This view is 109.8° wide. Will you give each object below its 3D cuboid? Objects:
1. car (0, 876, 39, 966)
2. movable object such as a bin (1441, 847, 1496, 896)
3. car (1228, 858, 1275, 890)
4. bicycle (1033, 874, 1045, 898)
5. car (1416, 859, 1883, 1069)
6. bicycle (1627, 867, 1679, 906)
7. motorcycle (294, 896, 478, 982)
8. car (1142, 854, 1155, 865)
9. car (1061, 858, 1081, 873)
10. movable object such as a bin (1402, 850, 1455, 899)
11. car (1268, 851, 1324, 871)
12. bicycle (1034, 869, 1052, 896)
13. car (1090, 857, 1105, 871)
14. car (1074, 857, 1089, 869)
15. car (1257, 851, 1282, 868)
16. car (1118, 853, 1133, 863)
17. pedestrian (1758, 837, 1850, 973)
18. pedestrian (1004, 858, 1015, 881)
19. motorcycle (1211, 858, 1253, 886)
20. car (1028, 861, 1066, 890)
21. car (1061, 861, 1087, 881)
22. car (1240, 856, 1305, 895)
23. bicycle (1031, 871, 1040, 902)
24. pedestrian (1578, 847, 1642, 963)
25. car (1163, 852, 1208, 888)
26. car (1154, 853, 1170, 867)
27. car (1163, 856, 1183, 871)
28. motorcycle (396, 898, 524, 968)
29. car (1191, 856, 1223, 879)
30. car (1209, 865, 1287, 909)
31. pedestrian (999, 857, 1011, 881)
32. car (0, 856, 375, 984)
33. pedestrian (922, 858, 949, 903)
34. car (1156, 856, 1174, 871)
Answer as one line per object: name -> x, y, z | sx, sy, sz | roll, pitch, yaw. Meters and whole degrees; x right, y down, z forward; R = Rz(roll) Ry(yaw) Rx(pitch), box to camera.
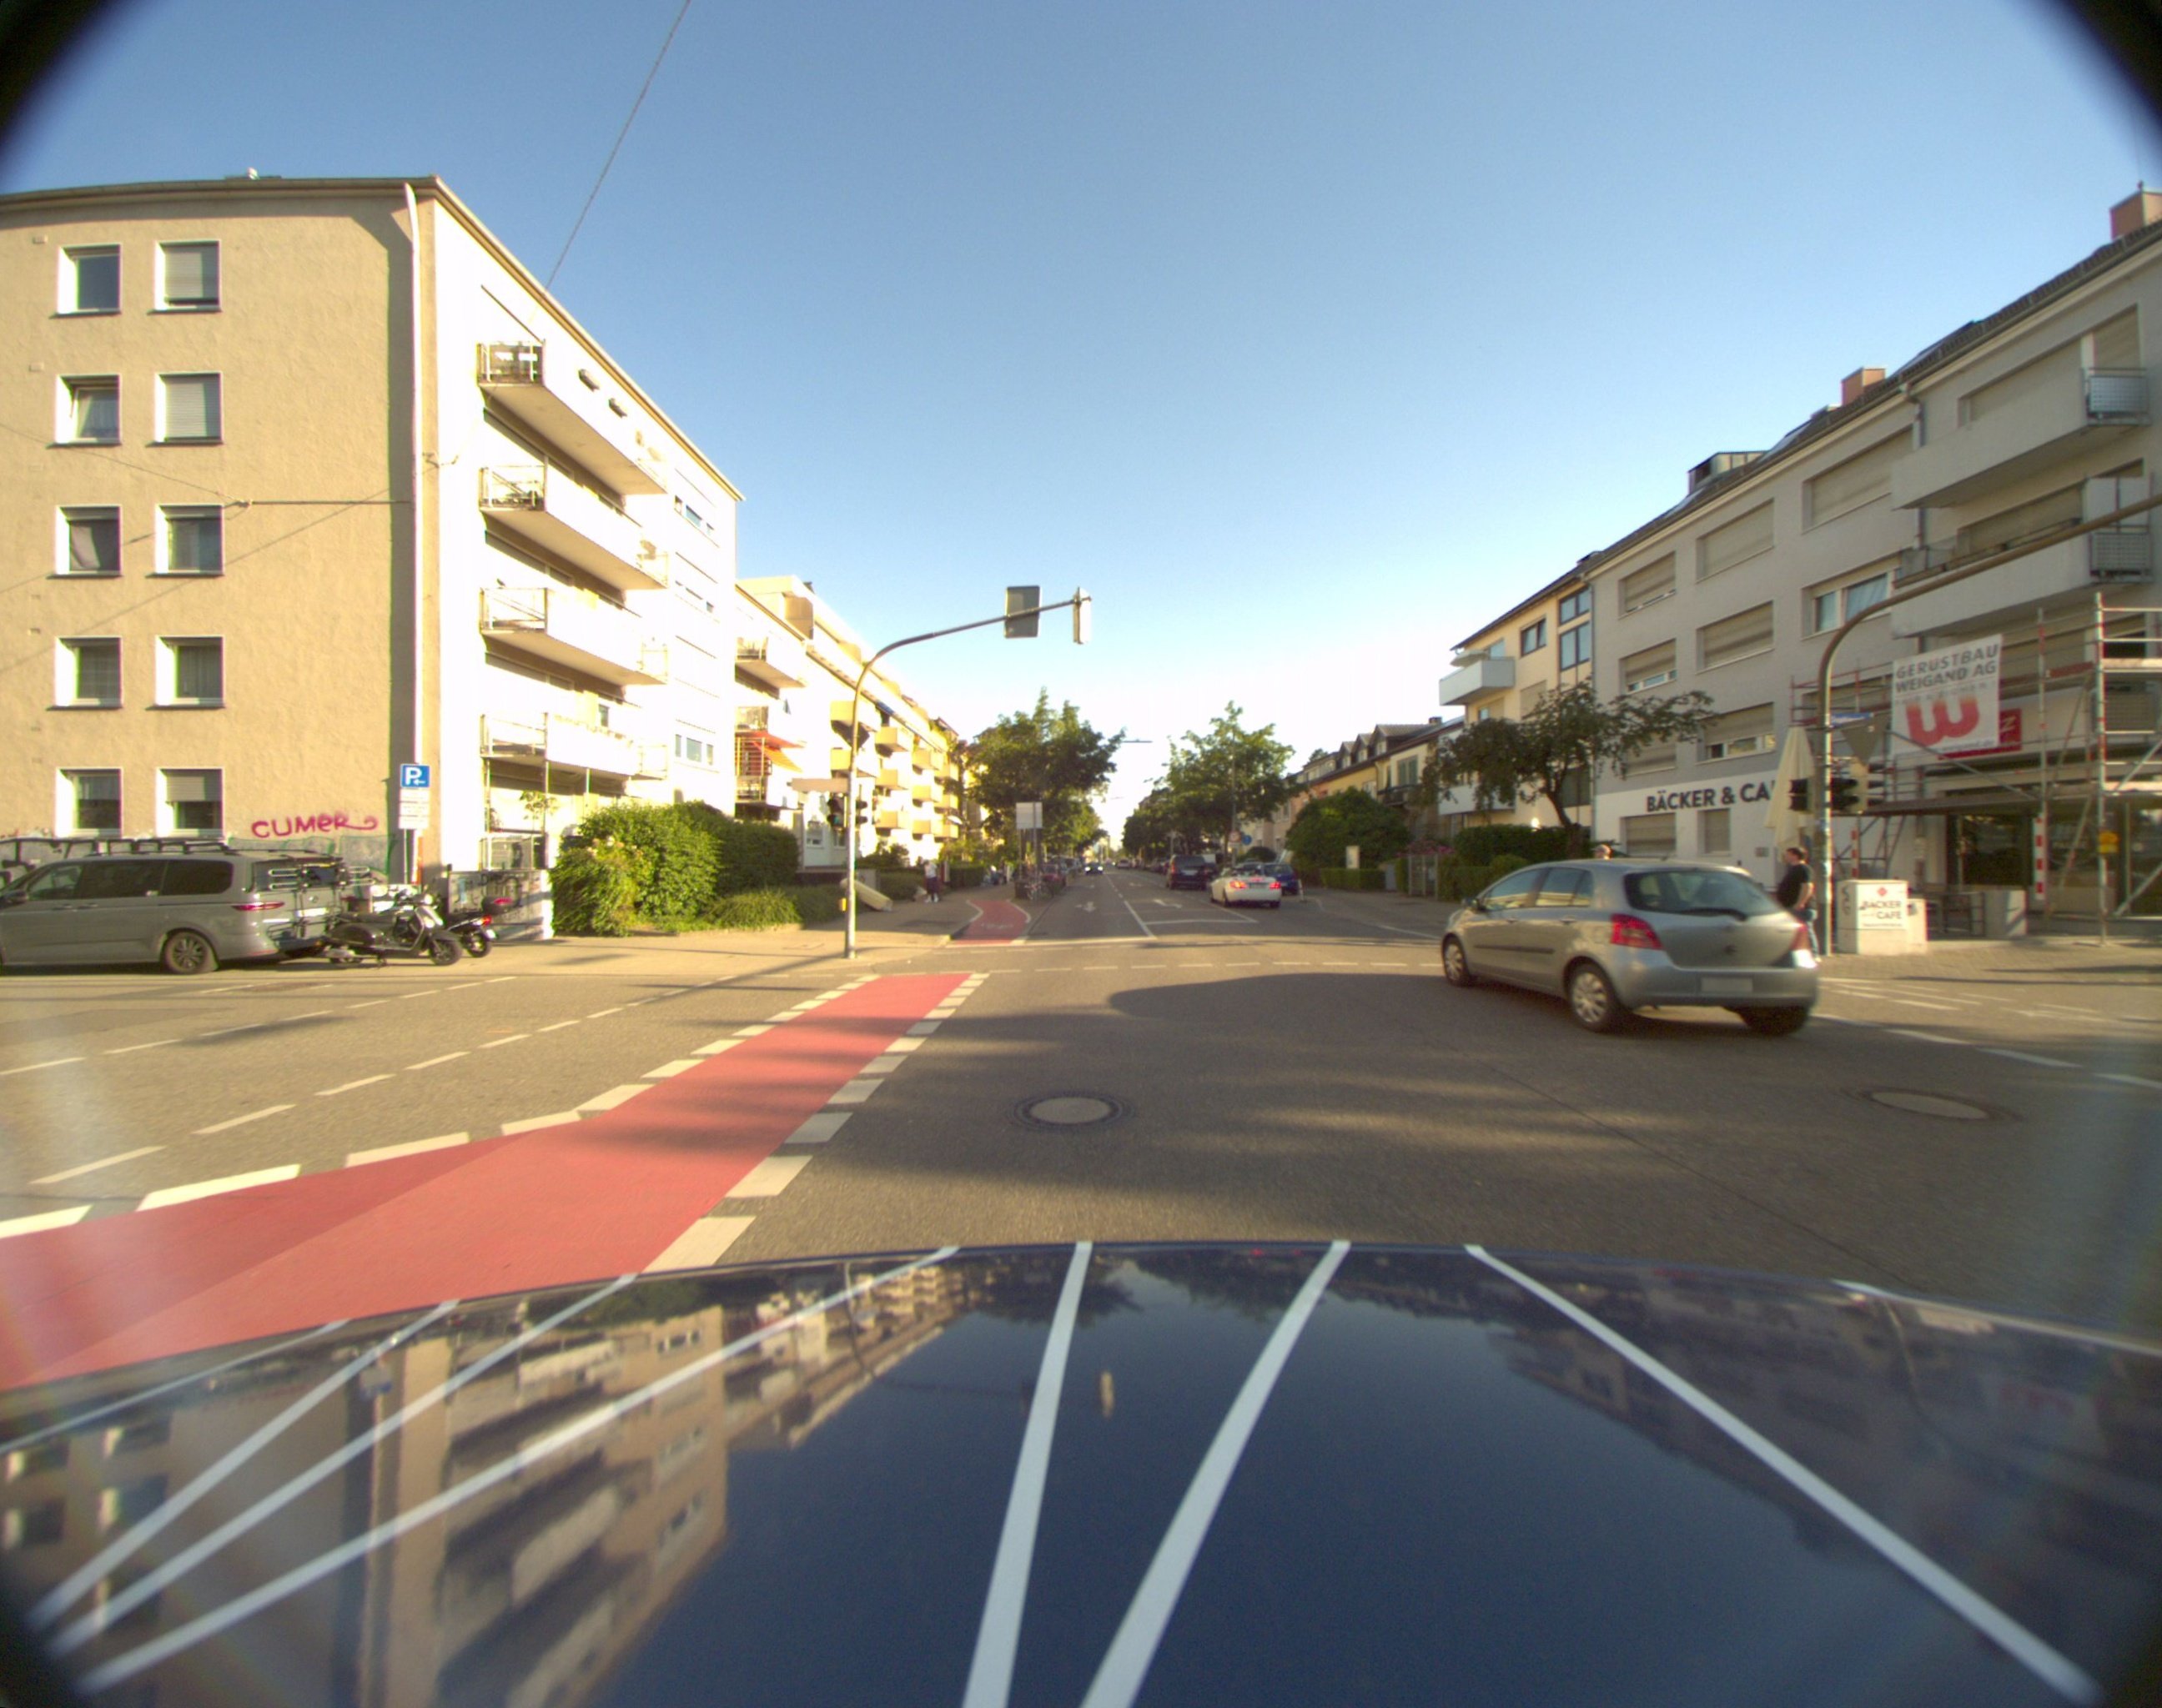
car -> -21.049, 1.210, 12.619 | 4.620, 1.532, 1.952 | -1, 1, -1
movable object such as a bin -> 14.054, 0.621, 27.626 | 1.309, 1.649, 1.180 | -4, 1, 1
car -> 8.678, 1.008, 38.915 | 1.755, 1.526, 3.572 | -1, 0, 2
bicycle -> -1.792, 1.352, 32.383 | 0.325, 0.981, 1.191 | -1, 0, 5
car -> 5.172, 0.842, 7.745 | 1.809, 1.548, 4.000 | 1, 0, 1
bicycle -> 16.075, 0.896, 21.391 | 0.439, 1.009, 1.477 | -1, 0, 4
motorcycle -> -10.888, 1.302, 11.976 | 1.992, 1.194, 0.774 | -1, 1, -11
car -> 9.843, 0.830, 110.860 | 1.642, 1.554, 3.660 | -1, 0, 1
car -> -0.961, 1.143, 77.029 | 1.744, 1.508, 3.811 | -1, 0, 3
movable object such as a bin -> 12.675, 0.718, 27.790 | 1.309, 1.649, 1.180 | -4, 1, 1
car -> 17.662, 0.539, 62.483 | 4.416, 1.604, 1.839 | -1, 0, -29
bicycle -> -1.719, 1.290, 34.599 | 0.324, 1.138, 1.802 | 0, 0, 14
car -> 1.774, 1.109, 84.101 | 1.641, 1.481, 4.415 | 1, 0, 1
car -> 0.043, 1.172, 99.249 | 1.744, 1.508, 3.811 | -1, 0, 3
car -> 18.459, 0.564, 74.582 | 1.841, 1.604, 4.411 | -1, 0, 6
car -> 7.427, 0.611, 127.278 | 1.843, 1.604, 4.407 | -1, 0, -6
pedestrian -> 11.052, 0.756, 11.641 | 0.645, 2.002, 0.814 | -1, 1, 2
pedestrian -> -5.238, 1.104, 55.426 | 0.659, 1.673, 0.831 | 0, 0, 6
motorcycle -> 8.602, 0.978, 43.456 | 1.263, 1.526, 2.888 | -1, 0, -13
car -> -1.840, 1.150, 42.114 | 1.744, 1.508, 3.811 | -1, 0, 3
car -> -0.518, 1.329, 60.159 | 1.744, 1.508, 3.811 | -1, 0, 3
car -> 8.562, 0.925, 34.326 | 1.810, 1.604, 3.951 | -1, 0, -2
bicycle -> -1.813, 1.285, 30.240 | 0.325, 1.138, 1.800 | -1, 0, -4
pedestrian -> 9.373, 0.882, 13.489 | 0.639, 2.002, 0.739 | -1, 0, 2
car -> 5.613, 0.824, 41.410 | 1.842, 1.866, 4.409 | -1, 0, 0
car -> 9.815, 0.745, 92.230 | 1.692, 1.656, 3.660 | -1, 0, 1
car -> 9.516, 0.969, 78.638 | 1.642, 1.554, 3.660 | -1, 0, 1
motorcycle -> -10.632, 1.340, 13.038 | 1.698, 1.105, 0.594 | -1, 1, 2
car -> 9.175, 0.936, 55.736 | 1.734, 1.604, 4.197 | -1, 0, 2
car -> 5.649, 1.068, 26.160 | 1.845, 1.312, 4.442 | 0, 0, 2
pedestrian -> -5.346, 1.041, 53.472 | 0.659, 1.673, 0.831 | 0, 0, 6
car -> -14.970, 1.006, 12.454 | 4.841, 1.855, 1.952 | -1, 1, -1
pedestrian -> -5.433, 0.978, 28.349 | 0.830, 1.673, 0.660 | 0, 1, 5
car -> 9.321, 1.018, 84.637 | 1.692, 1.554, 3.660 | -1, 0, 1
